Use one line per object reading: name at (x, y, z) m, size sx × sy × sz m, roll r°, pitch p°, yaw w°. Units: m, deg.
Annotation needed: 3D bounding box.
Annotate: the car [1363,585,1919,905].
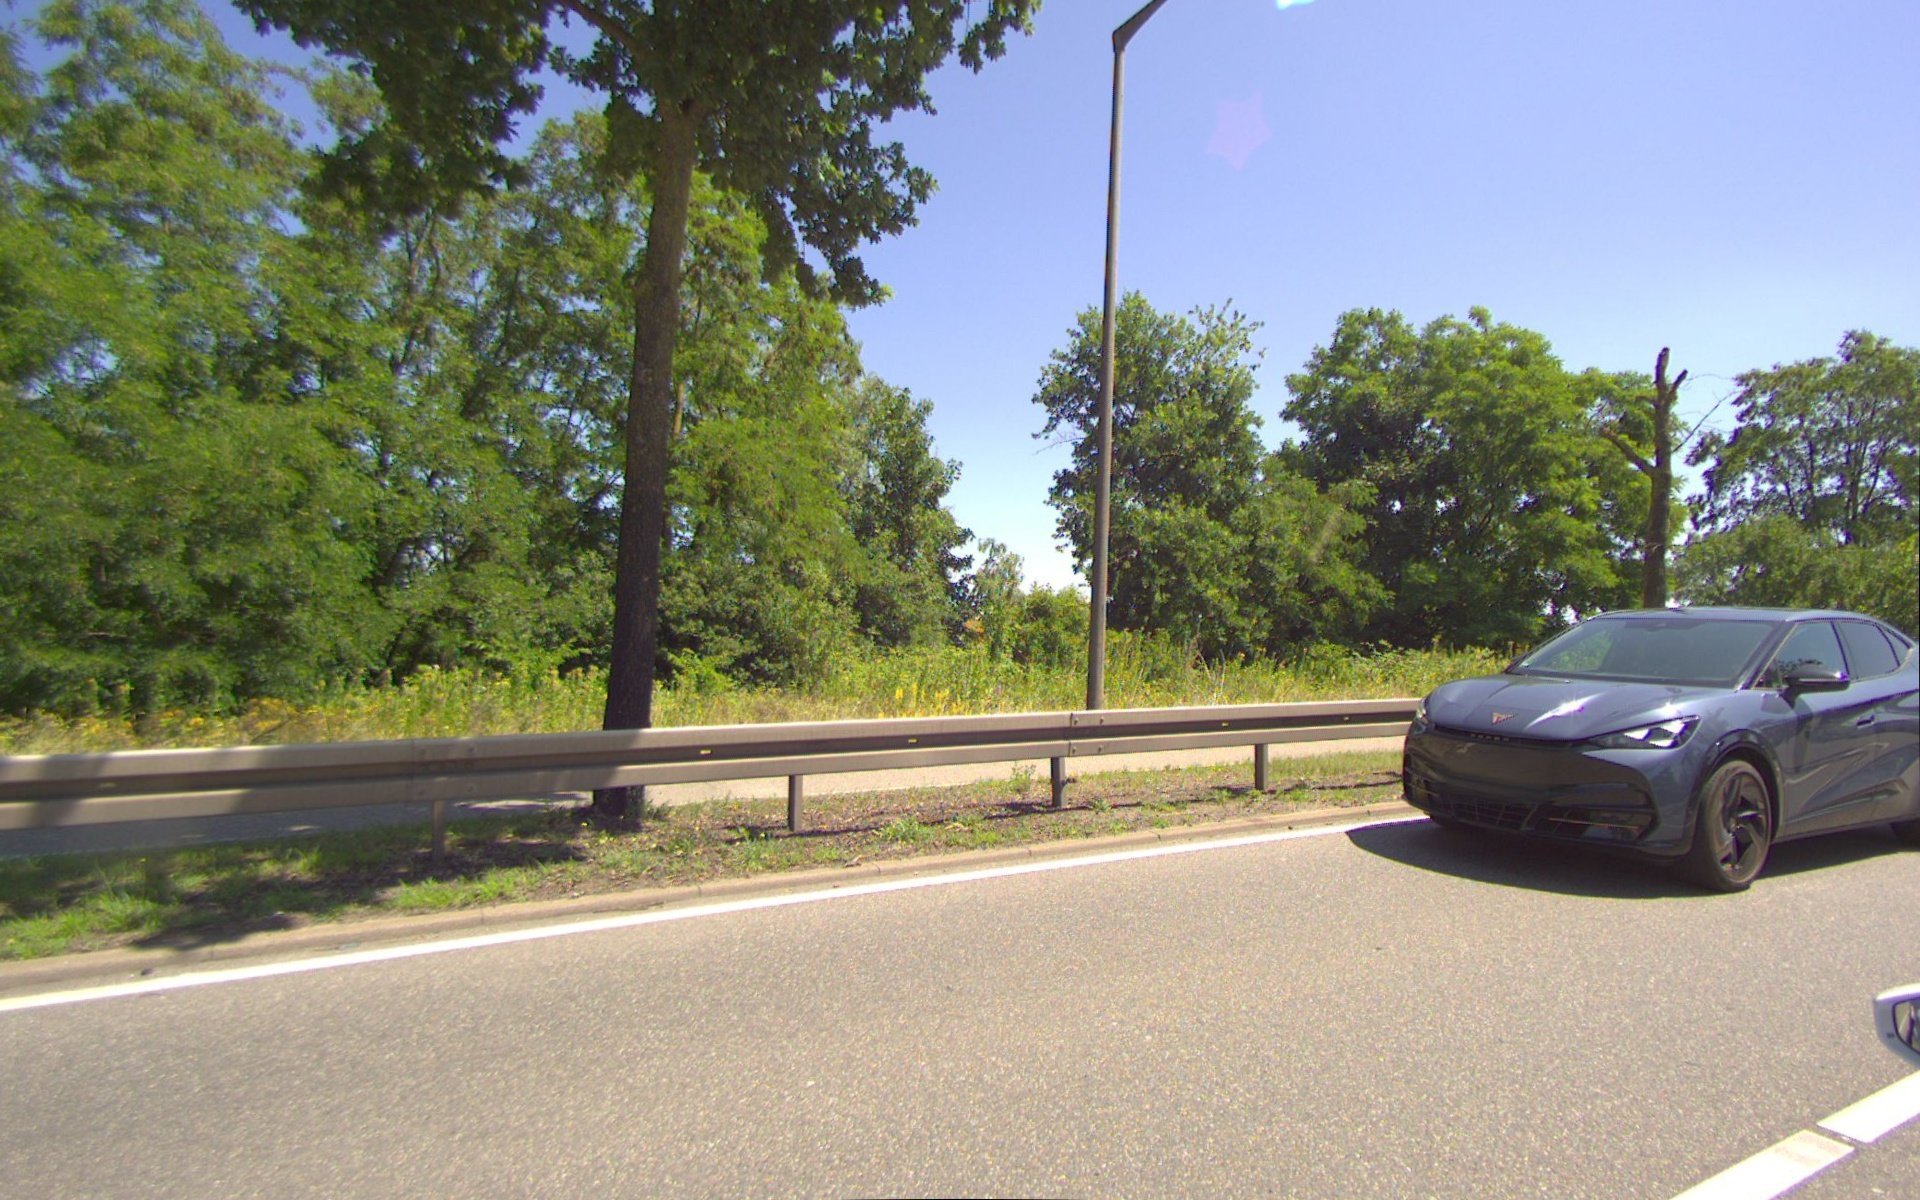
car at (5.080, 0.792, 6.928) m, size 4.336 × 1.625 × 1.862 m, roll 2°, pitch 0°, yaw -27°
